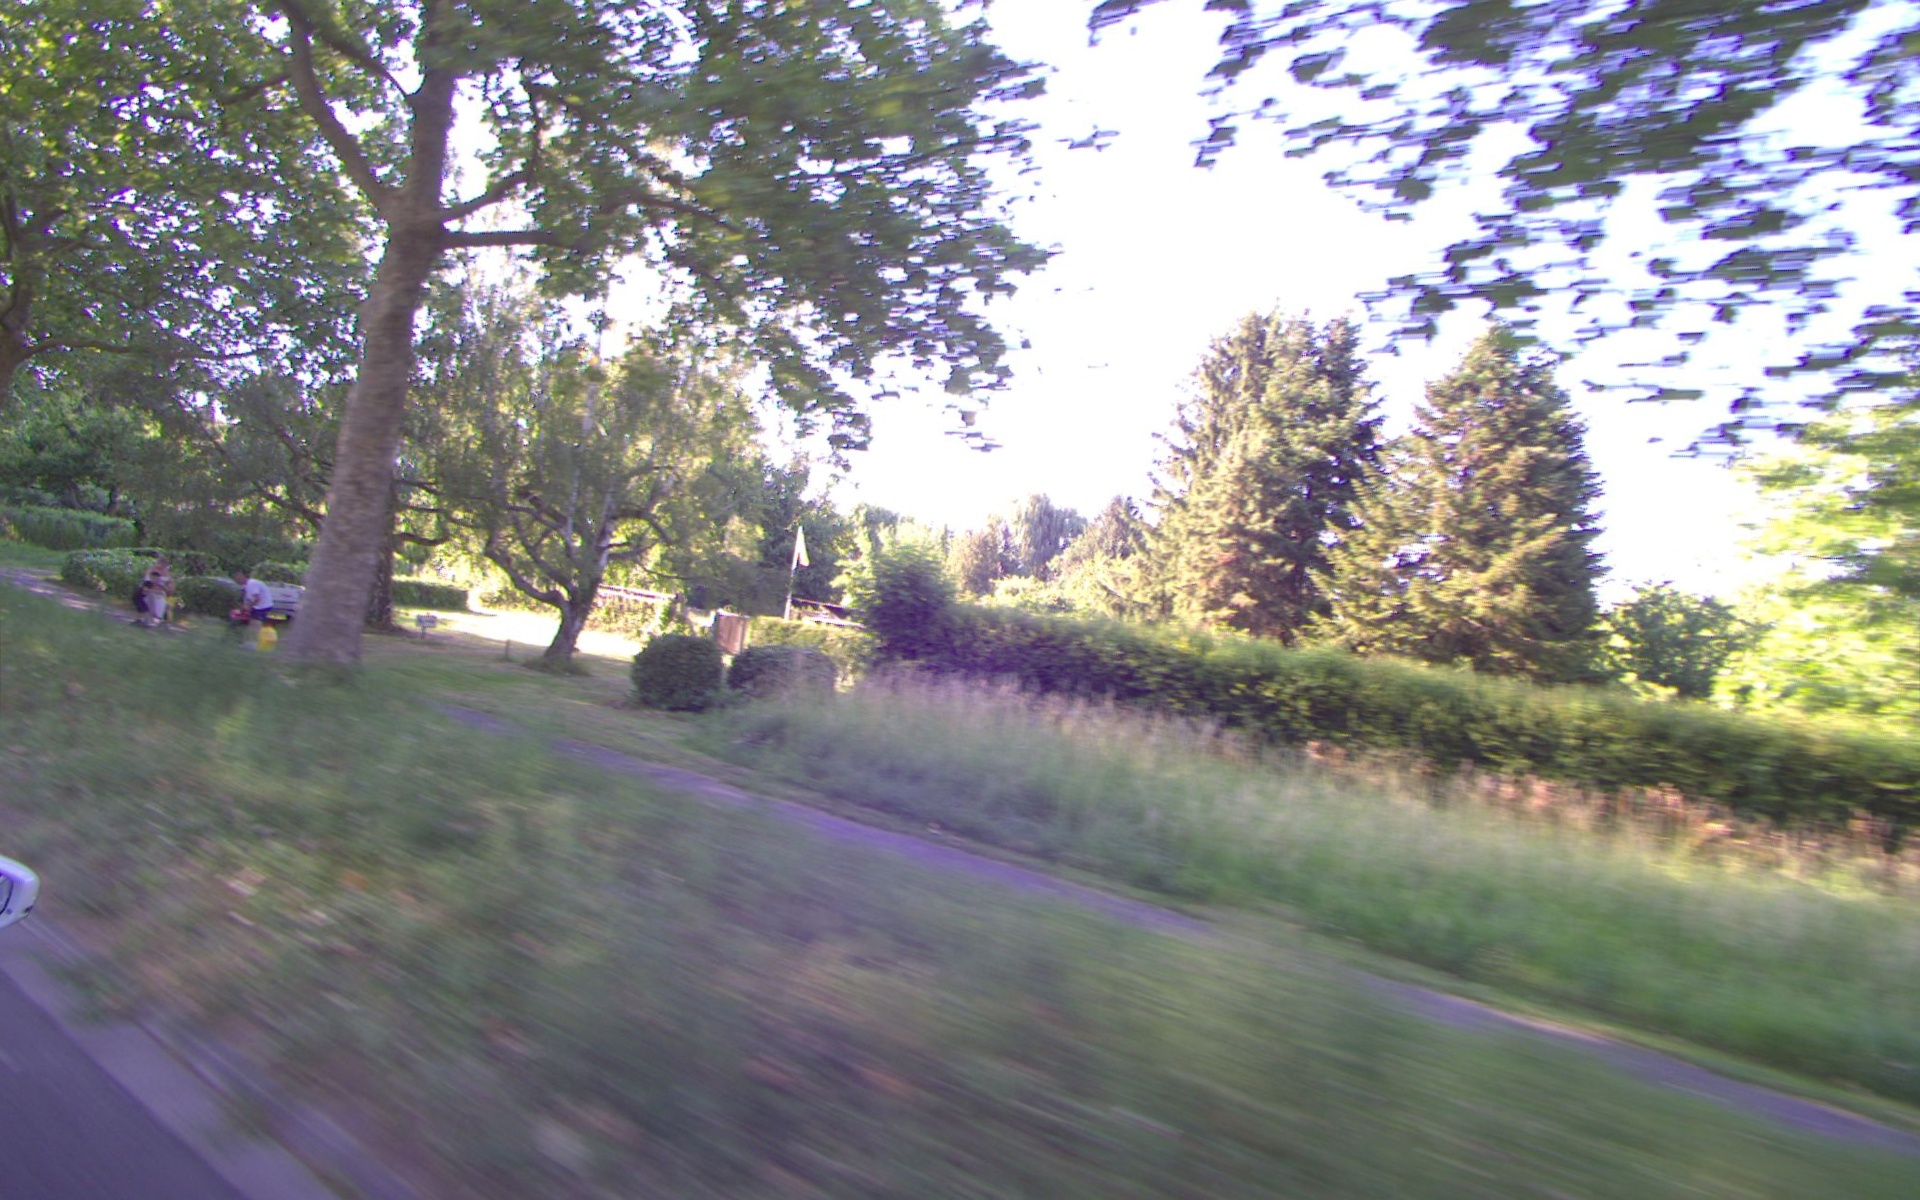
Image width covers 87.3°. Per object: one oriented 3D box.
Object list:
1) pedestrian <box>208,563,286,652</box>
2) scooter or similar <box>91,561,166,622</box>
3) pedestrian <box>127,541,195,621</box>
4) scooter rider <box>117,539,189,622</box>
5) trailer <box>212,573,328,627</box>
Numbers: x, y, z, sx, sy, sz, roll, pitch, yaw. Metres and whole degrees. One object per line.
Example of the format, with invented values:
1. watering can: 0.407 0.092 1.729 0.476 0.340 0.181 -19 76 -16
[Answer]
1. pedestrian: -14.311 0.148 20.187 1.190 1.594 0.842 7 -1 41
2. scooter or similar: -16.952 -0.162 20.551 0.335 1.148 1.597 8 -2 -11
3. pedestrian: -17.293 -0.397 21.790 0.774 1.594 0.841 8 -1 -22
4. scooter rider: -16.907 -0.408 21.079 0.772 1.594 0.843 7 -1 36
5. trailer: -17.862 0.015 26.078 1.182 1.064 2.119 7 -2 37
